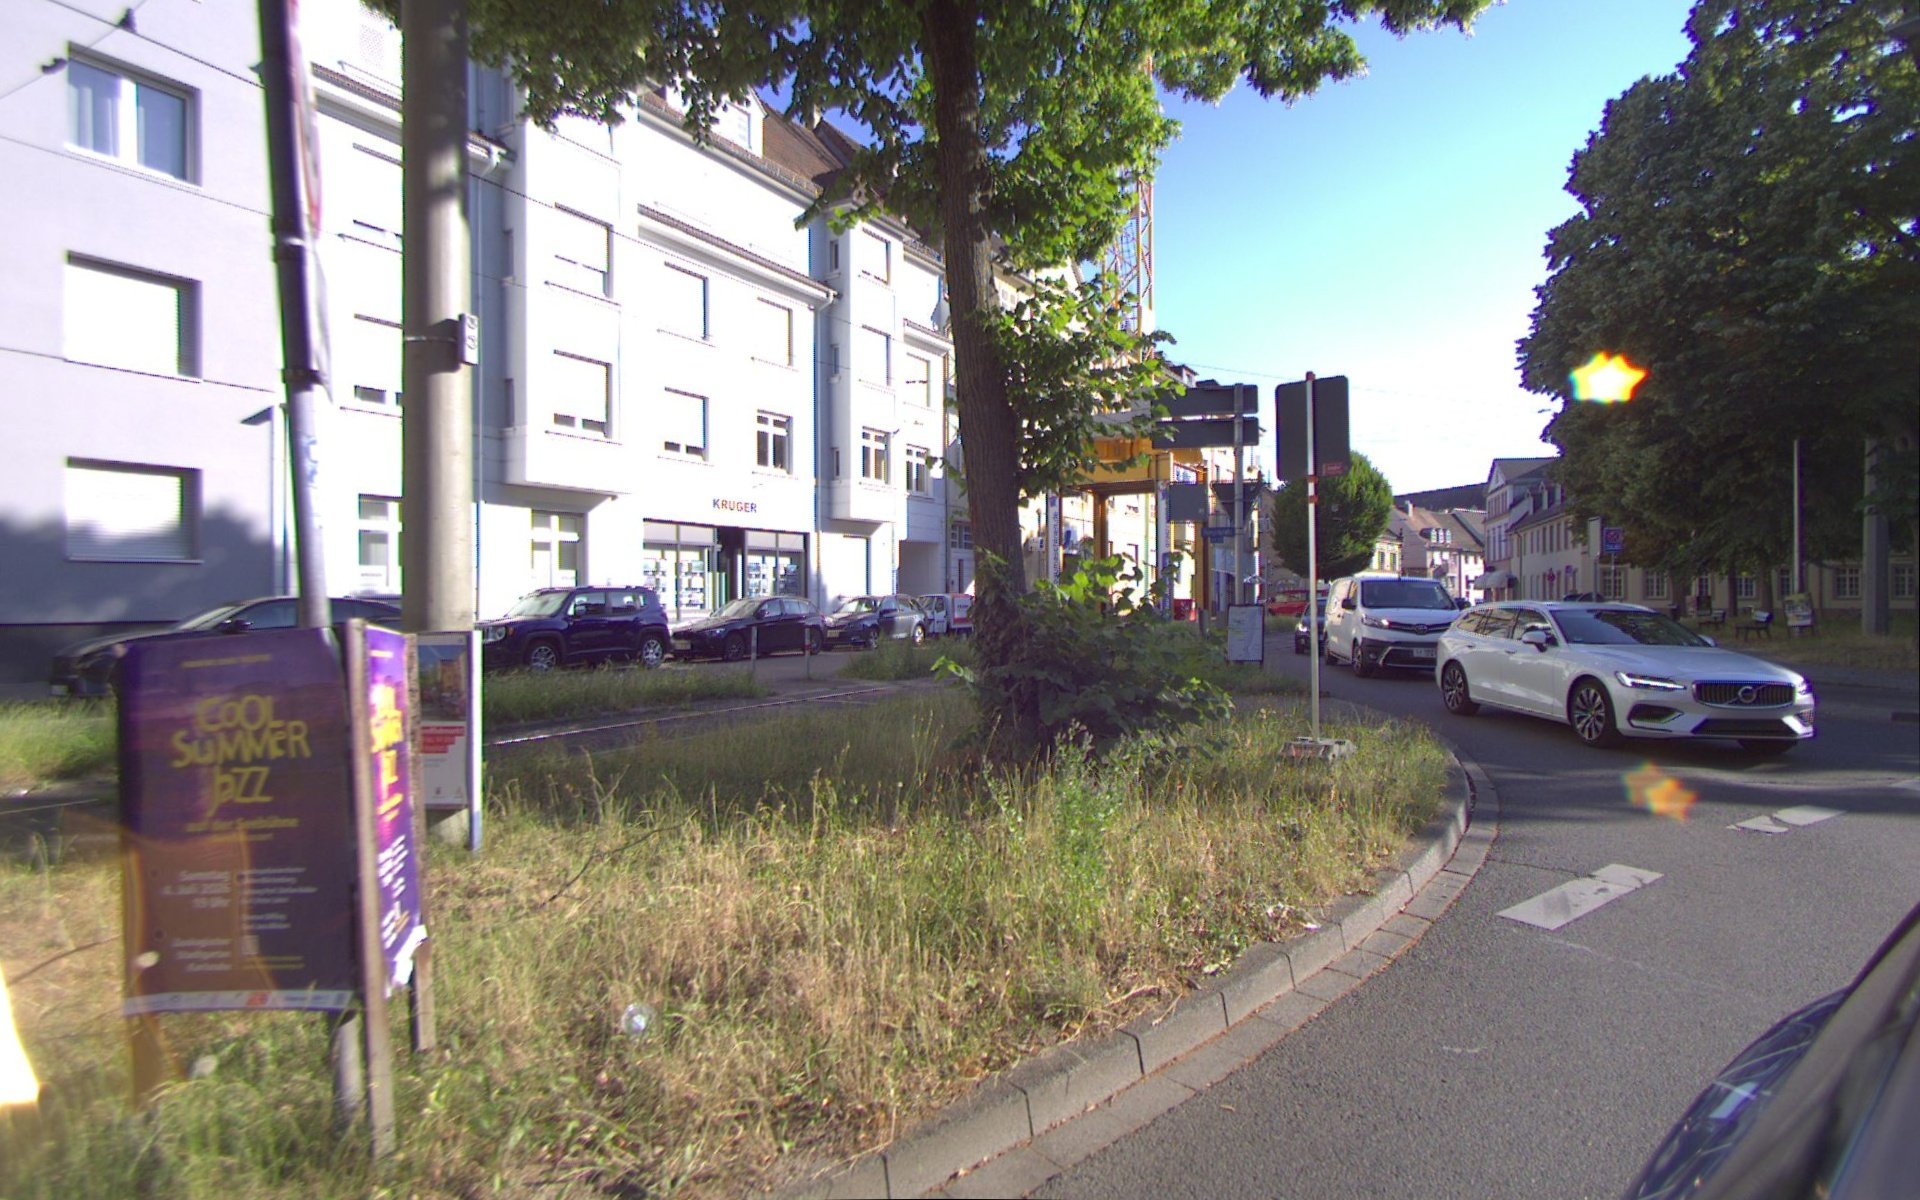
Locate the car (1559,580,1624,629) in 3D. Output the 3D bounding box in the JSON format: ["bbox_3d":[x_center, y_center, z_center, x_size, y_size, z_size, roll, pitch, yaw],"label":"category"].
[{"bbox_3d":[24.809,0.143,39.876,1.983,1.816,3.957,-1,0,30],"label":"car"}]

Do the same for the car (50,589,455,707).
[{"bbox_3d":[-9.937,0.583,14.626,1.983,1.404,4.400,1,0,29],"label":"car"}]

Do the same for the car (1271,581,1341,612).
[{"bbox_3d":[22.369,-0.231,65.392,4.034,1.945,1.980,1,0,29],"label":"car"}]

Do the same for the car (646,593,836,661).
[{"bbox_3d":[-4.970,0.562,23.464,1.985,1.404,4.161,1,0,32],"label":"car"}]

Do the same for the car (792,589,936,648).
[{"bbox_3d":[-2.535,0.464,27.757,1.983,1.471,4.054,1,0,30],"label":"car"}]

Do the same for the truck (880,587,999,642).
[{"bbox_3d":[-0.560,0.415,32.012,1.983,1.605,4.054,1,0,30],"label":"truck"}]

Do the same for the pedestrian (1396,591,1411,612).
[{"bbox_3d":[43.706,0.130,99.754,1.340,2.039,1.150,0,0,22],"label":"pedestrian"}]

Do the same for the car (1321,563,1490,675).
[{"bbox_3d":[8.431,0.314,19.653,1.969,1.878,4.885,1,0,11],"label":"car"}]

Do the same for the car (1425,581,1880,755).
[{"bbox_3d":[7.083,0.583,11.144,1.820,1.482,4.770,1,0,2],"label":"car"}]

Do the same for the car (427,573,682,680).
[{"bbox_3d":[-7.479,0.437,19.102,1.983,1.771,4.165,1,0,29],"label":"car"}]

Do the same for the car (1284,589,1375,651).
[{"bbox_3d":[9.670,0.474,26.313,1.978,1.463,4.039,1,0,23],"label":"car"}]
